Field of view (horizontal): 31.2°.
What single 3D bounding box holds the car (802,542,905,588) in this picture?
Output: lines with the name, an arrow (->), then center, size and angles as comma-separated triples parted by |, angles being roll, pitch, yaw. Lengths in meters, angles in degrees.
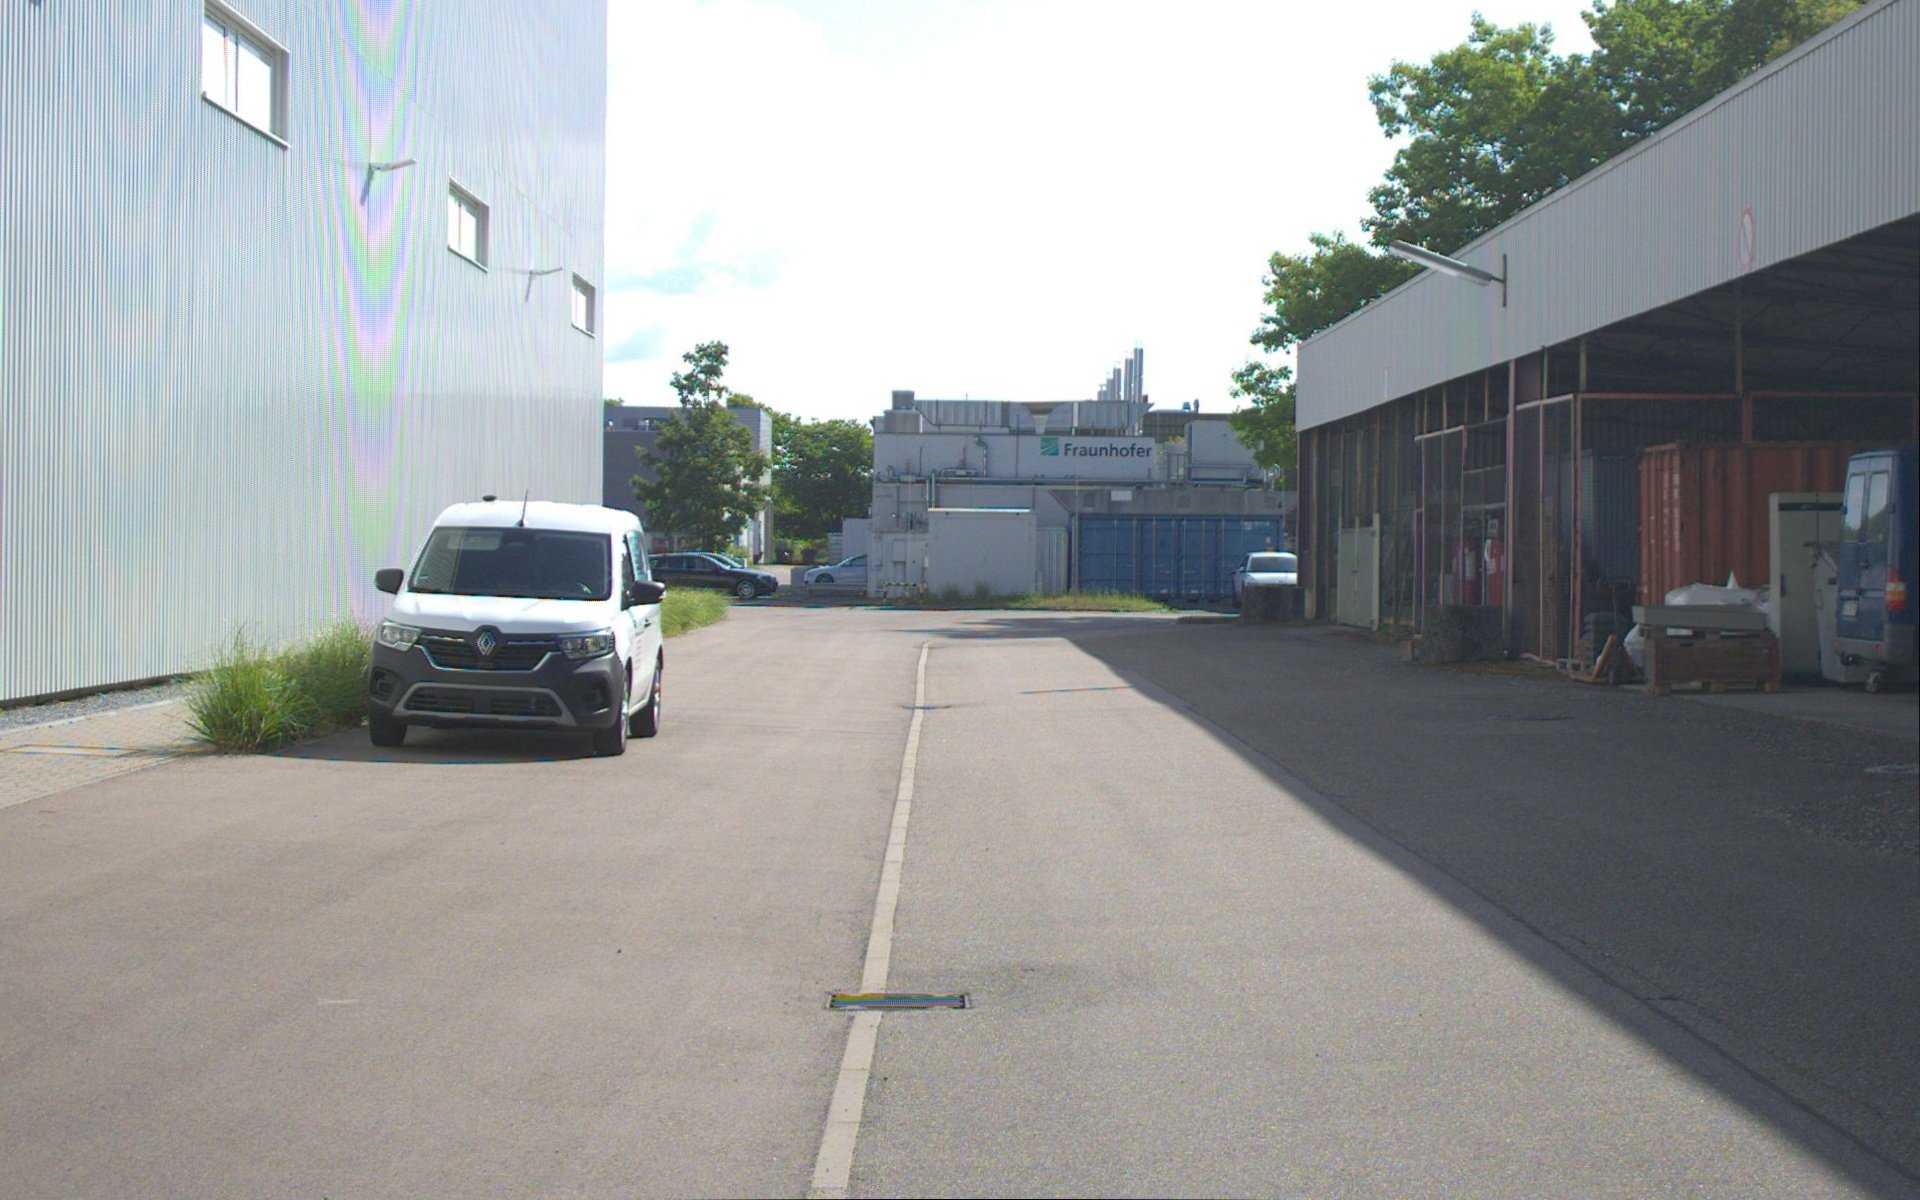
car -> -4.196, -1.371, 135.659 | 3.987, 1.592, 1.848 | 2, -1, -1

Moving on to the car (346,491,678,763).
car -> -3.224, 0.138, 25.560 | 1.818, 1.781, 4.405 | 2, 1, 0

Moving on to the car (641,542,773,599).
car -> -7.900, -0.925, 107.794 | 3.987, 1.592, 1.742 | 2, -1, -1

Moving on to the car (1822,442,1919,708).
car -> 10.213, -0.130, 30.830 | 4.433, 2.302, 1.915 | 2, -1, 1

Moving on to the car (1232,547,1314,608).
car -> 8.658, -0.636, 95.312 | 1.962, 1.559, 4.059 | 2, 1, 2
